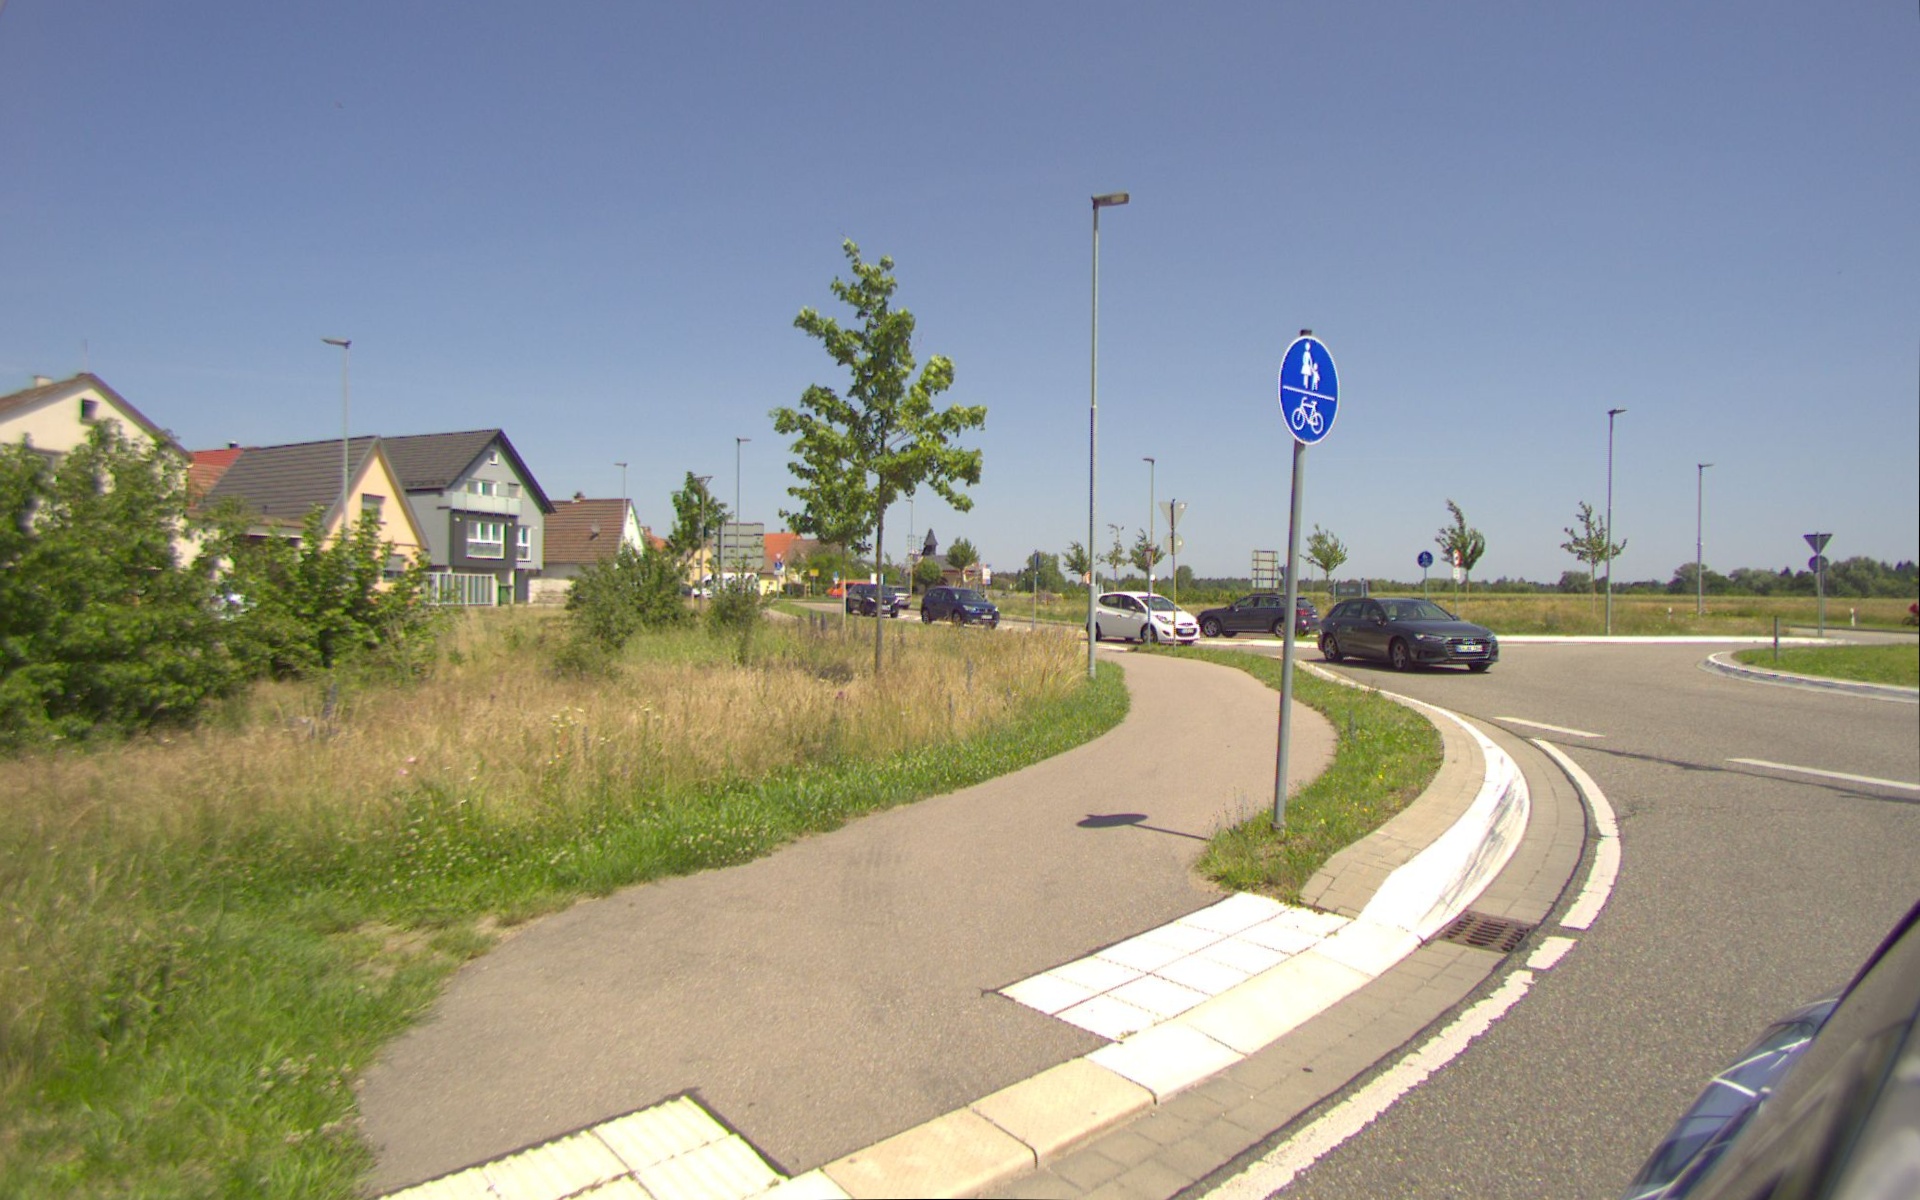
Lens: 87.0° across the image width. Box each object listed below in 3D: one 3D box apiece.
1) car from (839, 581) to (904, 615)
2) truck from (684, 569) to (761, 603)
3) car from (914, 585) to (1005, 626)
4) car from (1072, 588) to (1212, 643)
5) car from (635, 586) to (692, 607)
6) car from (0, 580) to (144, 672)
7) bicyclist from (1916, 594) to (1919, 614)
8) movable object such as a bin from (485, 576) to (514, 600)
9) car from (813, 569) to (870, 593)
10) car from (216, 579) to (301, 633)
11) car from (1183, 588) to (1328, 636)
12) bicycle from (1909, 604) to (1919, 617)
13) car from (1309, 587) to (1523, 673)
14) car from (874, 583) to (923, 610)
[{"bbox_3d":[-4.451,-0.128,50.412,1.830,1.581,4.734,0,1,-23],"label":"car"},{"bbox_3d":[-18.365,-1.063,78.281,5.518,2.538,2.241,0,0,-23],"label":"truck"},{"bbox_3d":[-0.081,0.176,41.065,1.688,1.581,4.153,-1,1,-33],"label":"car"},{"bbox_3d":[5.662,0.420,32.035,1.833,1.581,4.524,-1,1,-31],"label":"car"},{"bbox_3d":[-19.959,-0.260,68.215,1.832,1.368,3.740,1,0,21],"label":"car"},{"bbox_3d":[-14.786,0.366,15.249,1.715,1.328,3.998,1,0,1],"label":"car"},{"bbox_3d":[52.437,0.228,54.805,0.567,1.092,0.725,1,0,-6],"label":"bicyclist"},{"bbox_3d":[-26.889,-0.704,59.095,1.068,1.407,1.200,1,0,8],"label":"movable object such as a bin"},{"bbox_3d":[-13.319,-2.105,113.897,6.062,2.617,2.340,1,0,21],"label":"car"},{"bbox_3d":[-19.965,0.131,28.731,1.622,1.410,3.995,0,0,-40],"label":"car"},{"bbox_3d":[10.963,0.464,37.661,4.854,1.670,1.930,-1,-1,34],"label":"car"},{"bbox_3d":[52.419,0.581,54.817,0.567,0.739,1.472,1,0,-6],"label":"bicycle"},{"bbox_3d":[9.158,0.517,20.817,1.831,1.452,4.528,-1,2,-8],"label":"car"},{"bbox_3d":[-3.959,-0.231,64.414,1.859,1.637,4.007,1,0,-24],"label":"car"}]
